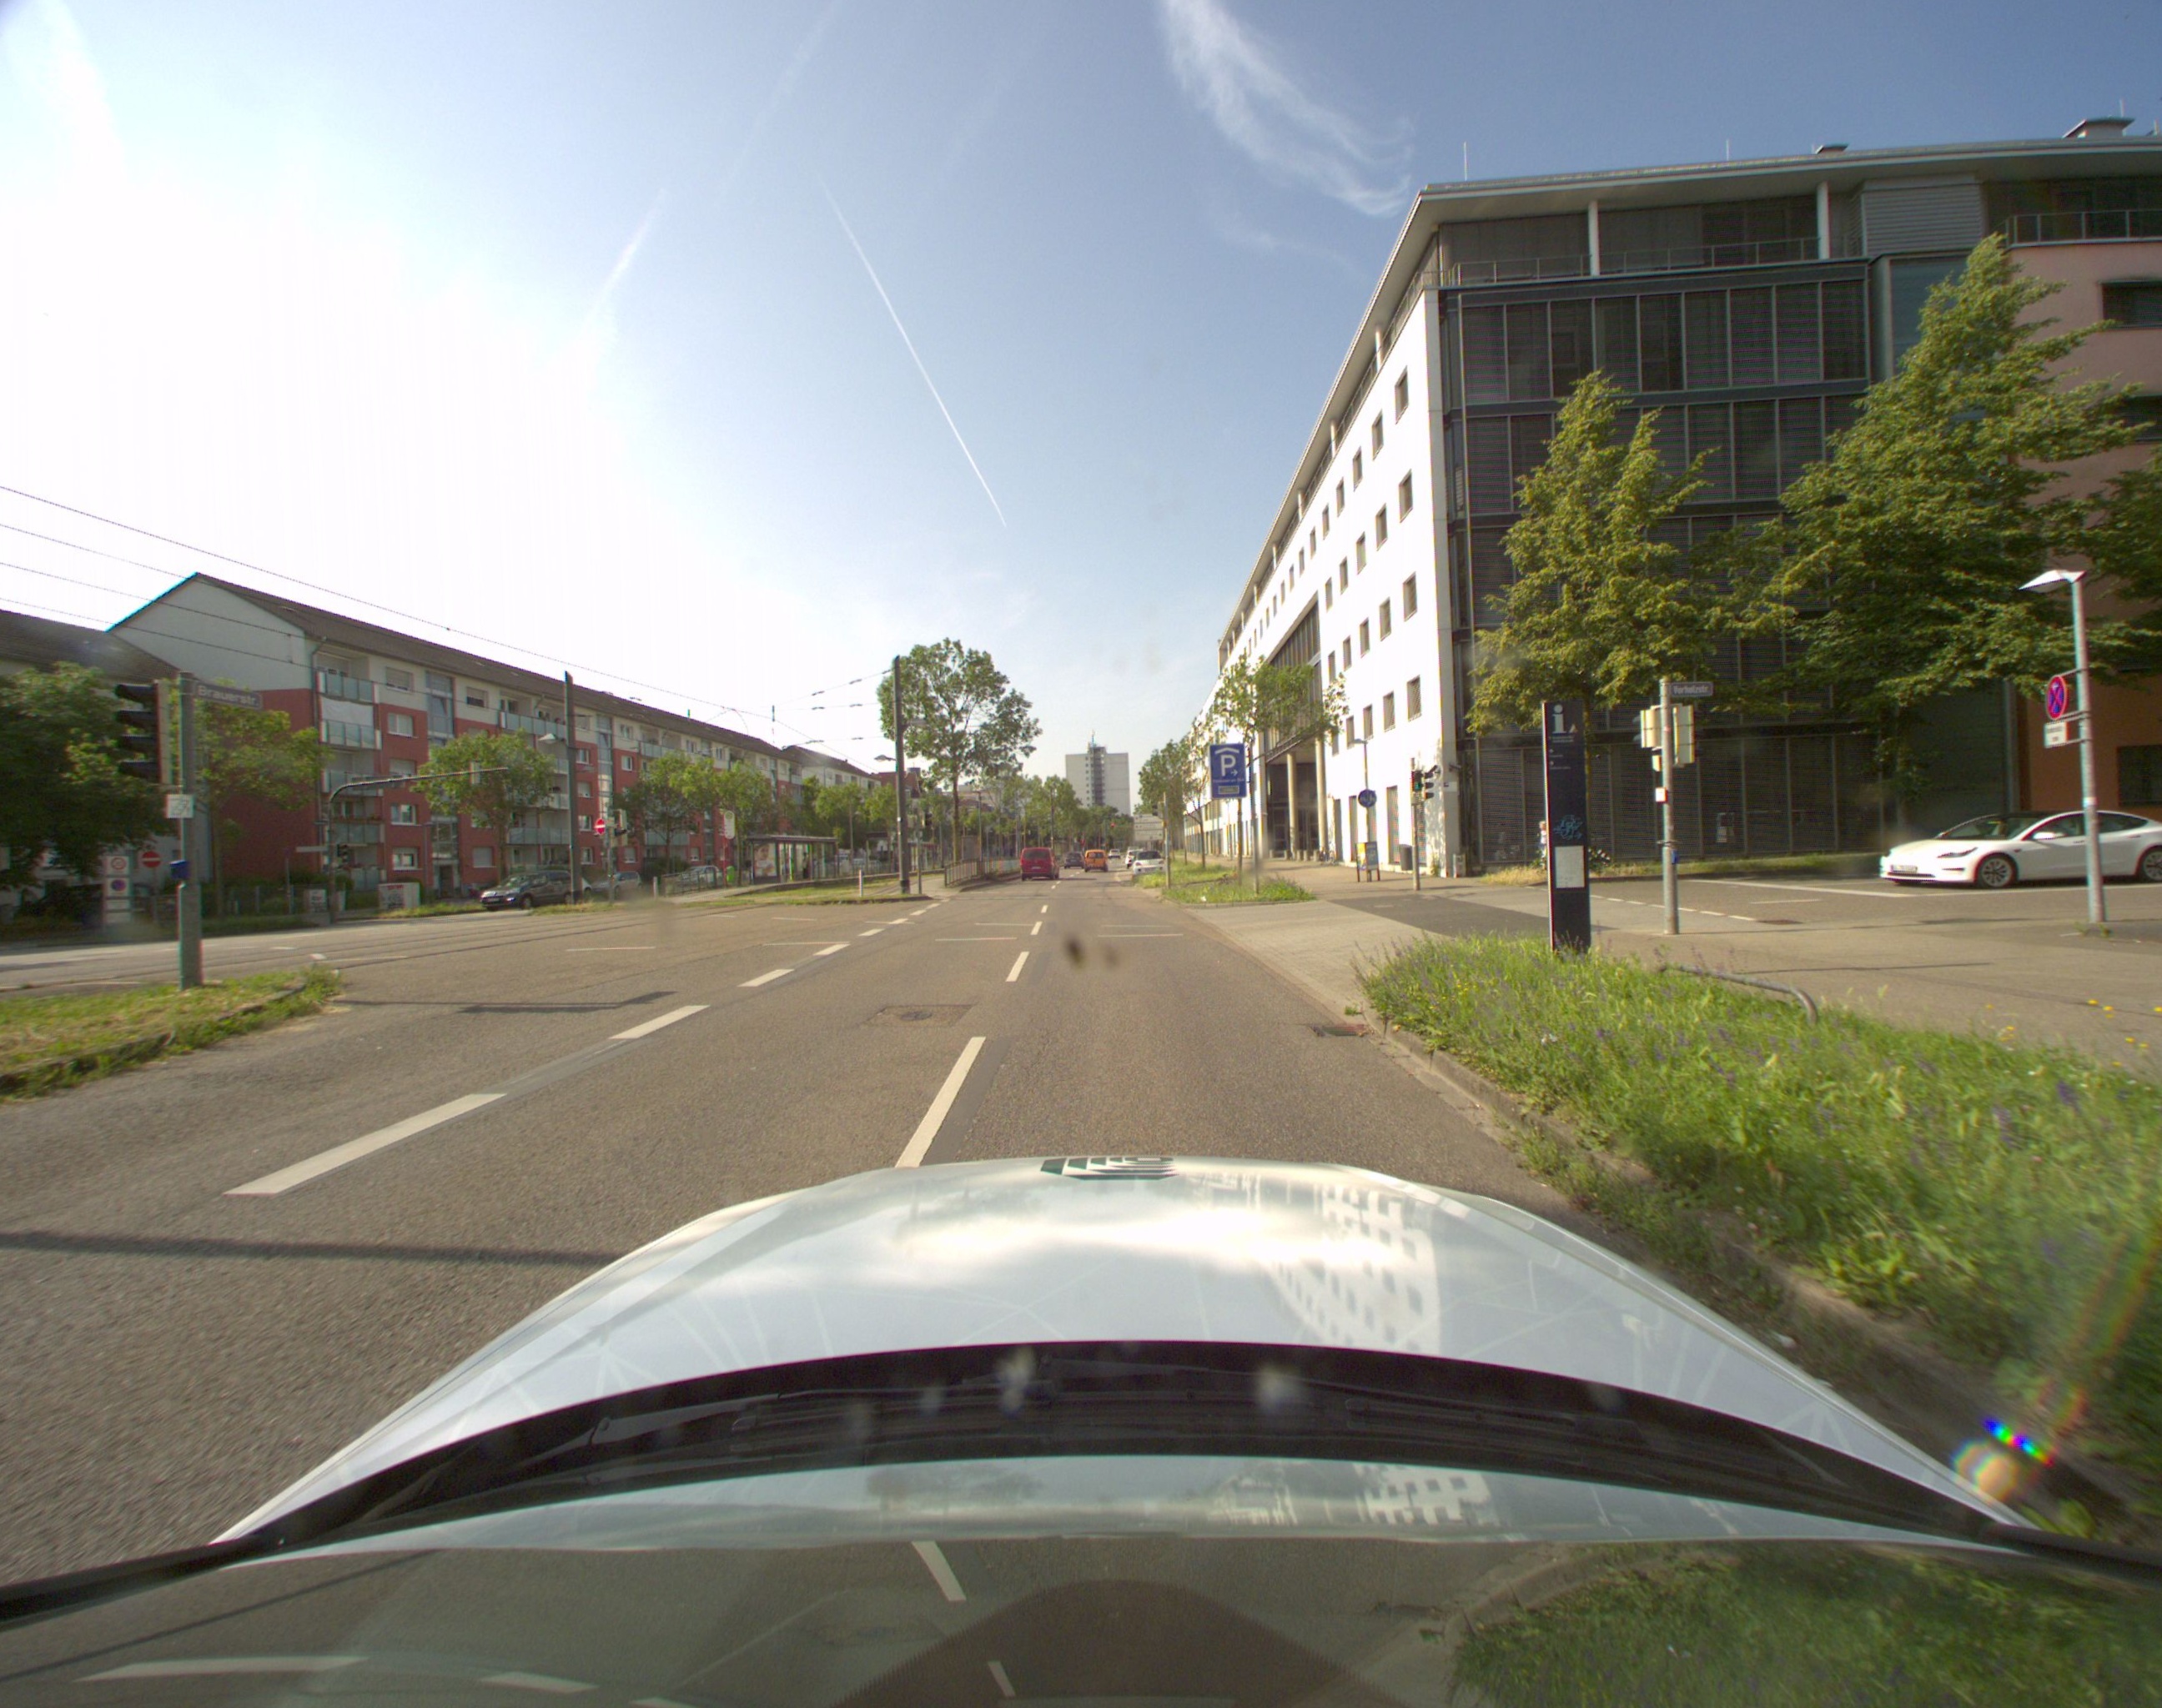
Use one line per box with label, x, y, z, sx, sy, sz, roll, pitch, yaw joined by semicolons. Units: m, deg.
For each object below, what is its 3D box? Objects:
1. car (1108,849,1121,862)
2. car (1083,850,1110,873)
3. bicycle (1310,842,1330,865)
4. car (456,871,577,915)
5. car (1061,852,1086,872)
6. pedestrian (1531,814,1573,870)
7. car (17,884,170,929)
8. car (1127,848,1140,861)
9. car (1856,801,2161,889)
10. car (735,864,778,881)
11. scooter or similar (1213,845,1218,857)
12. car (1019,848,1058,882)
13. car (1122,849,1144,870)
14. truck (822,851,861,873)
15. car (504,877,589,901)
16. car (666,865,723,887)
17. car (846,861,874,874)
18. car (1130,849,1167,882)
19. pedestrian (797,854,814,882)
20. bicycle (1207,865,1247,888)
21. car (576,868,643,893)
car;5.398;0.276;131.009;1.986;2.013;4.002;-2;0;2
car;1.237;0.569;63.192;1.867;1.696;3.978;-2;0;4
bicycle;11.822;-0.017;40.267;0.492;1.086;1.550;-4;0;1
car;-25.770;1.728;37.429;1.984;1.706;4.718;-2;0;4
car;-0.637;0.690;74.319;1.985;1.706;4.003;-2;0;3
pedestrian;13.805;-0.348;23.903;0.774;1.616;0.714;-2;0;1
car;-40.475;2.135;33.442;3.969;1.695;2.002;0;0;4
car;8.558;0.095;132.071;1.985;2.013;4.004;-2;0;3
car;18.487;-0.182;16.156;4.303;1.465;1.903;-3;1;2
car;-28.080;1.612;70.632;1.973;1.360;4.072;0;0;3
scooter or similar;13.899;-0.345;84.142;0.459;1.213;1.258;-4;0;9
car;-2.461;0.629;47.680;1.867;1.853;4.002;-2;0;2
car;4.347;0.441;68.187;1.681;1.526;3.854;-4;0;4
truck;-29.524;0.948;100.703;2.356;2.563;7.246;0;0;3
car;-29.494;1.887;45.097;1.826;1.147;4.167;0;0;3
car;-28.850;1.624;60.965;1.973;1.556;4.540;0;0;3
car;-26.228;1.582;96.637;1.973;1.513;4.284;0;0;3
car;3.455;0.568;42.229;1.713;1.519;3.784;-2;1;2
pedestrian;-16.510;0.812;48.793;0.669;1.653;0.794;-2;0;-1
bicycle;5.021;0.772;27.971;1.263;0.632;0.522;-8;-1;10
car;-29.441;1.634;50.963;1.826;1.471;3.829;0;0;3
